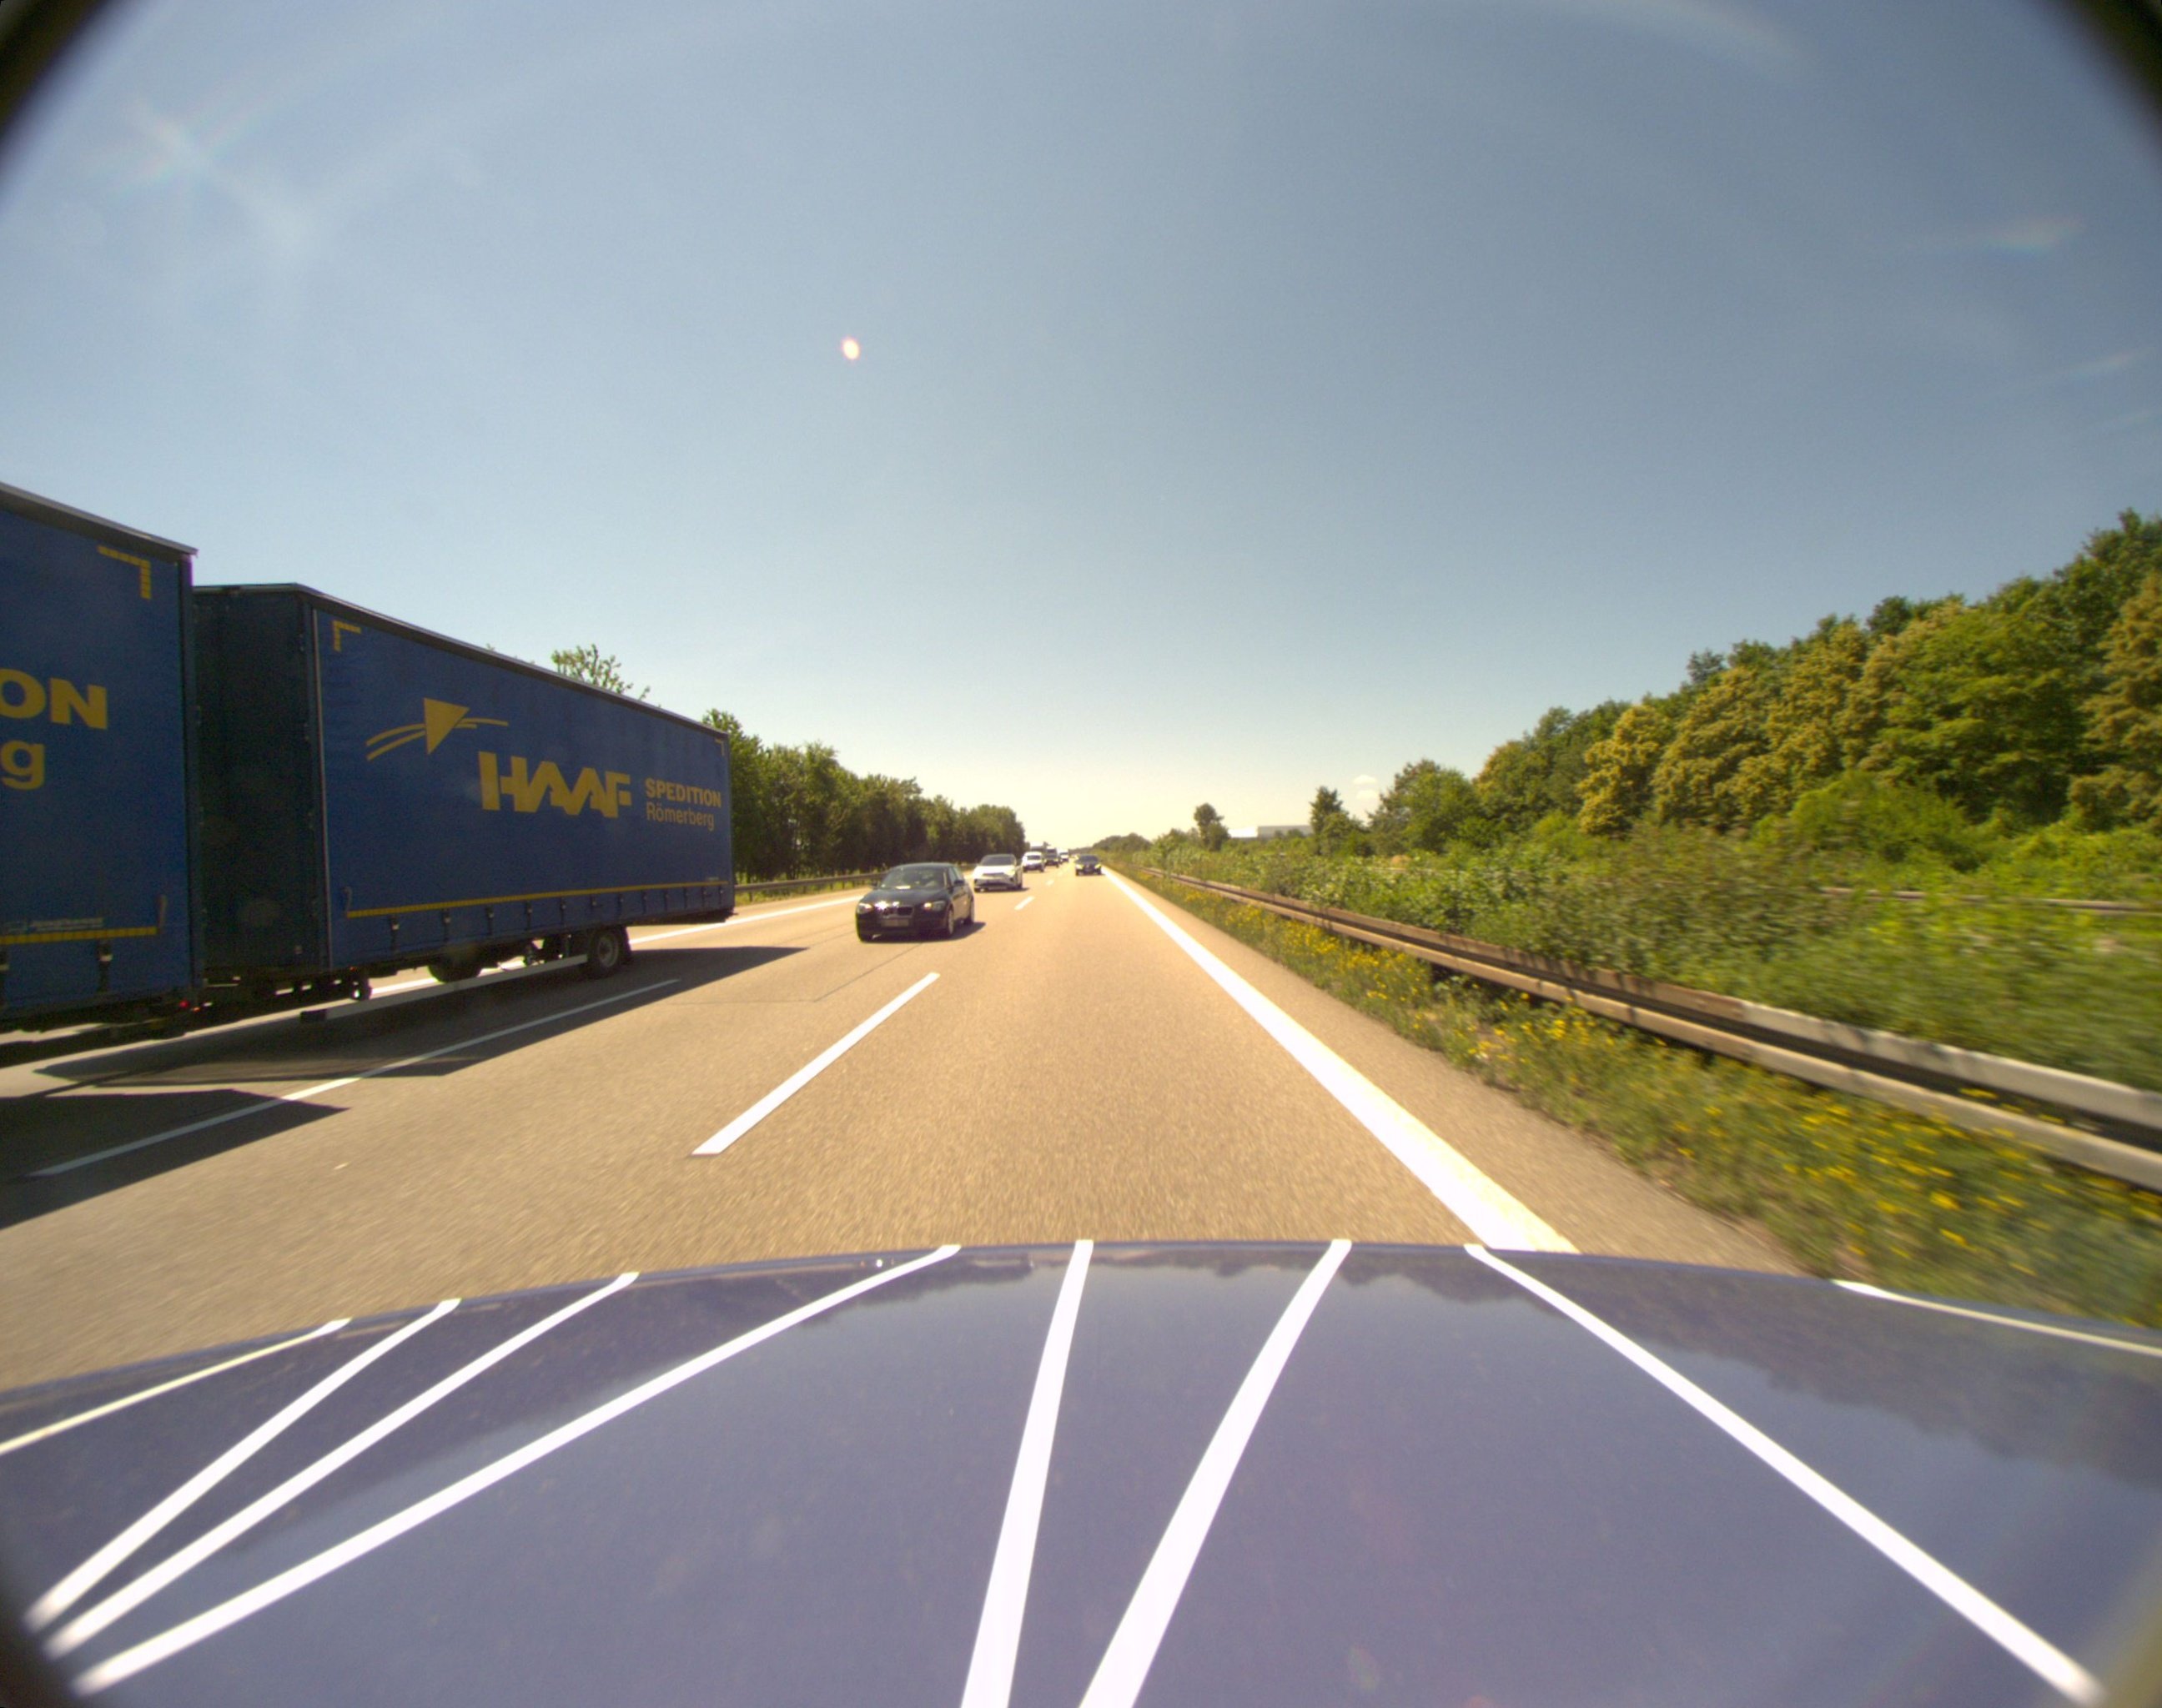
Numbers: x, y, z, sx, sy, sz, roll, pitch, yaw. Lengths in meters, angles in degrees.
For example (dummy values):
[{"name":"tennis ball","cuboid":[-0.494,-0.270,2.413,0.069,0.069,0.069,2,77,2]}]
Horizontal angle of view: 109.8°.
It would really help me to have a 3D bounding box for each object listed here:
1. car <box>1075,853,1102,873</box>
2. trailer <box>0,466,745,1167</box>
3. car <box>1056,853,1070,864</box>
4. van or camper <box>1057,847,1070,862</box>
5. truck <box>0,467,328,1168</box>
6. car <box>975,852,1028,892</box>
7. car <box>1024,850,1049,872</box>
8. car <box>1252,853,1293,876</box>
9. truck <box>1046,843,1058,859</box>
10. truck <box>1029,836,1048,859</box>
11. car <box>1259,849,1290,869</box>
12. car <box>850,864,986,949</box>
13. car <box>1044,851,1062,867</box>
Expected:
[{"name":"car","cuboid":[0.534,0.622,54.754,1.887,1.341,4.467,-1,0,0]},{"name":"trailer","cuboid":[-7.811,-0.241,8.878,2.797,4.180,10.806,-1,0,0]},{"name":"car","cuboid":[-2.722,0.732,114.078,1.887,1.557,4.466,-1,0,-2]},{"name":"van or camper","cuboid":[-3.279,0.073,142.176,2.198,2.796,6.999,-1,0,0]},{"name":"truck","cuboid":[-7.806,-0.179,1.021,2.797,4.180,10.805,-1,0,-1]},{"name":"car","cuboid":[-3.508,0.759,34.132,1.887,1.634,4.000,-1,0,0]},{"name":"car","cuboid":[-3.975,0.587,68.402,1.887,1.861,4.467,-1,0,0]},{"name":"car","cuboid":[13.027,0.688,51.839,1.798,1.420,4.000,-1,1,1]},{"name":"truck","cuboid":[-7.789,-0.789,205.852,2.797,4.180,10.806,-1,0,0]},{"name":"truck","cuboid":[-7.814,-1.187,141.123,2.797,4.180,10.806,-1,0,0]},{"name":"car","cuboid":[17.007,0.410,66.892,1.798,1.746,3.625,-1,1,1]},{"name":"car","cuboid":[-3.239,0.978,16.027,1.841,1.409,4.497,-1,0,0]},{"name":"car","cuboid":[-3.346,0.600,90.743,1.887,1.861,4.467,-1,0,0]}]
